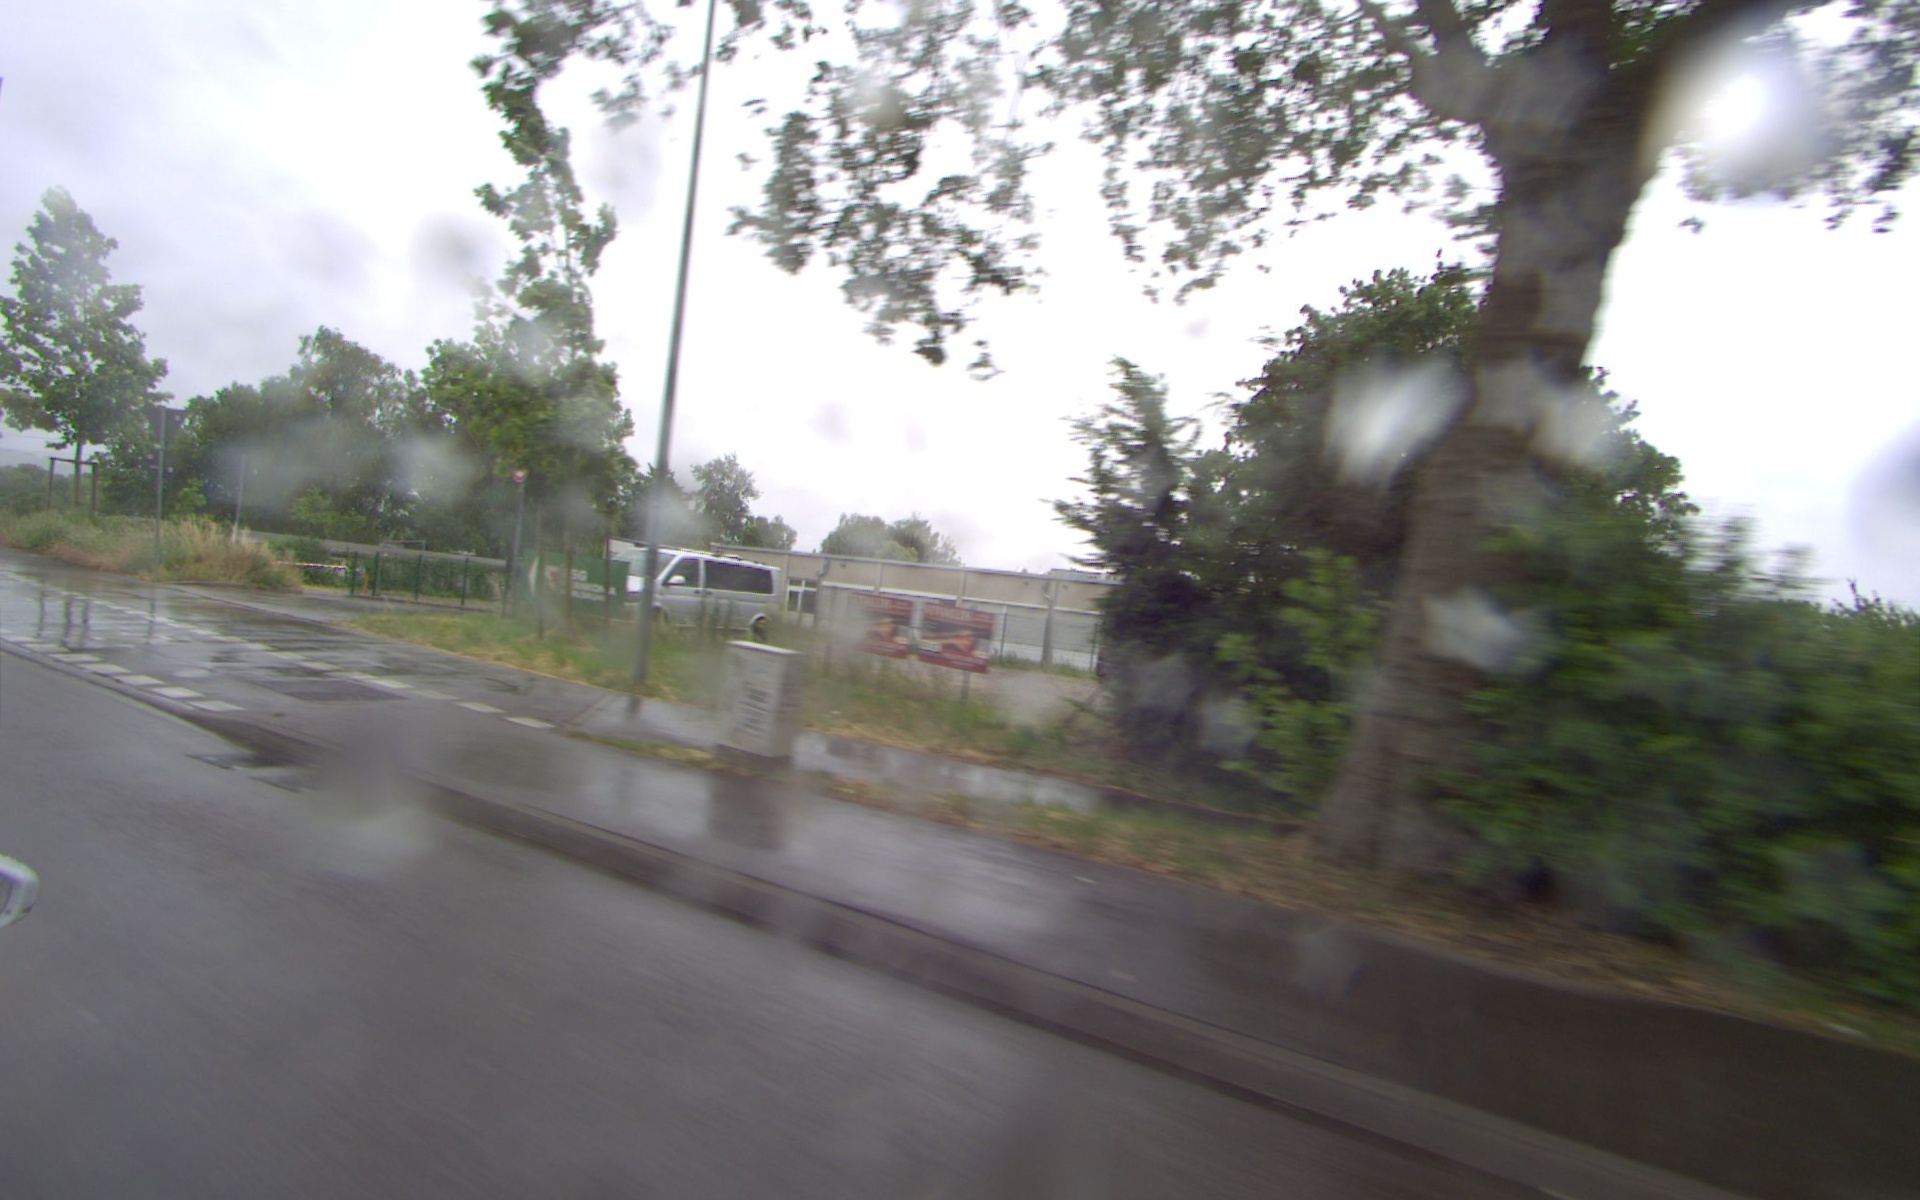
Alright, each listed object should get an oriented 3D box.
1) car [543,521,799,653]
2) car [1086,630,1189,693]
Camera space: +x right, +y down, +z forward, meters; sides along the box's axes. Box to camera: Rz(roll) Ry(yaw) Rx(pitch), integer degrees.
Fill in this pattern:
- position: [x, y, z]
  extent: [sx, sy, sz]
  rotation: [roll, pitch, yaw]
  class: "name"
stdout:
- position: [-5.894, -0.149, 21.358]
  extent: [1.965, 2.036, 5.266]
  rotation: [7, -2, 27]
  class: "car"
- position: [5.858, 2.050, 32.863]
  extent: [1.966, 1.636, 3.997]
  rotation: [7, -2, 30]
  class: "car"
